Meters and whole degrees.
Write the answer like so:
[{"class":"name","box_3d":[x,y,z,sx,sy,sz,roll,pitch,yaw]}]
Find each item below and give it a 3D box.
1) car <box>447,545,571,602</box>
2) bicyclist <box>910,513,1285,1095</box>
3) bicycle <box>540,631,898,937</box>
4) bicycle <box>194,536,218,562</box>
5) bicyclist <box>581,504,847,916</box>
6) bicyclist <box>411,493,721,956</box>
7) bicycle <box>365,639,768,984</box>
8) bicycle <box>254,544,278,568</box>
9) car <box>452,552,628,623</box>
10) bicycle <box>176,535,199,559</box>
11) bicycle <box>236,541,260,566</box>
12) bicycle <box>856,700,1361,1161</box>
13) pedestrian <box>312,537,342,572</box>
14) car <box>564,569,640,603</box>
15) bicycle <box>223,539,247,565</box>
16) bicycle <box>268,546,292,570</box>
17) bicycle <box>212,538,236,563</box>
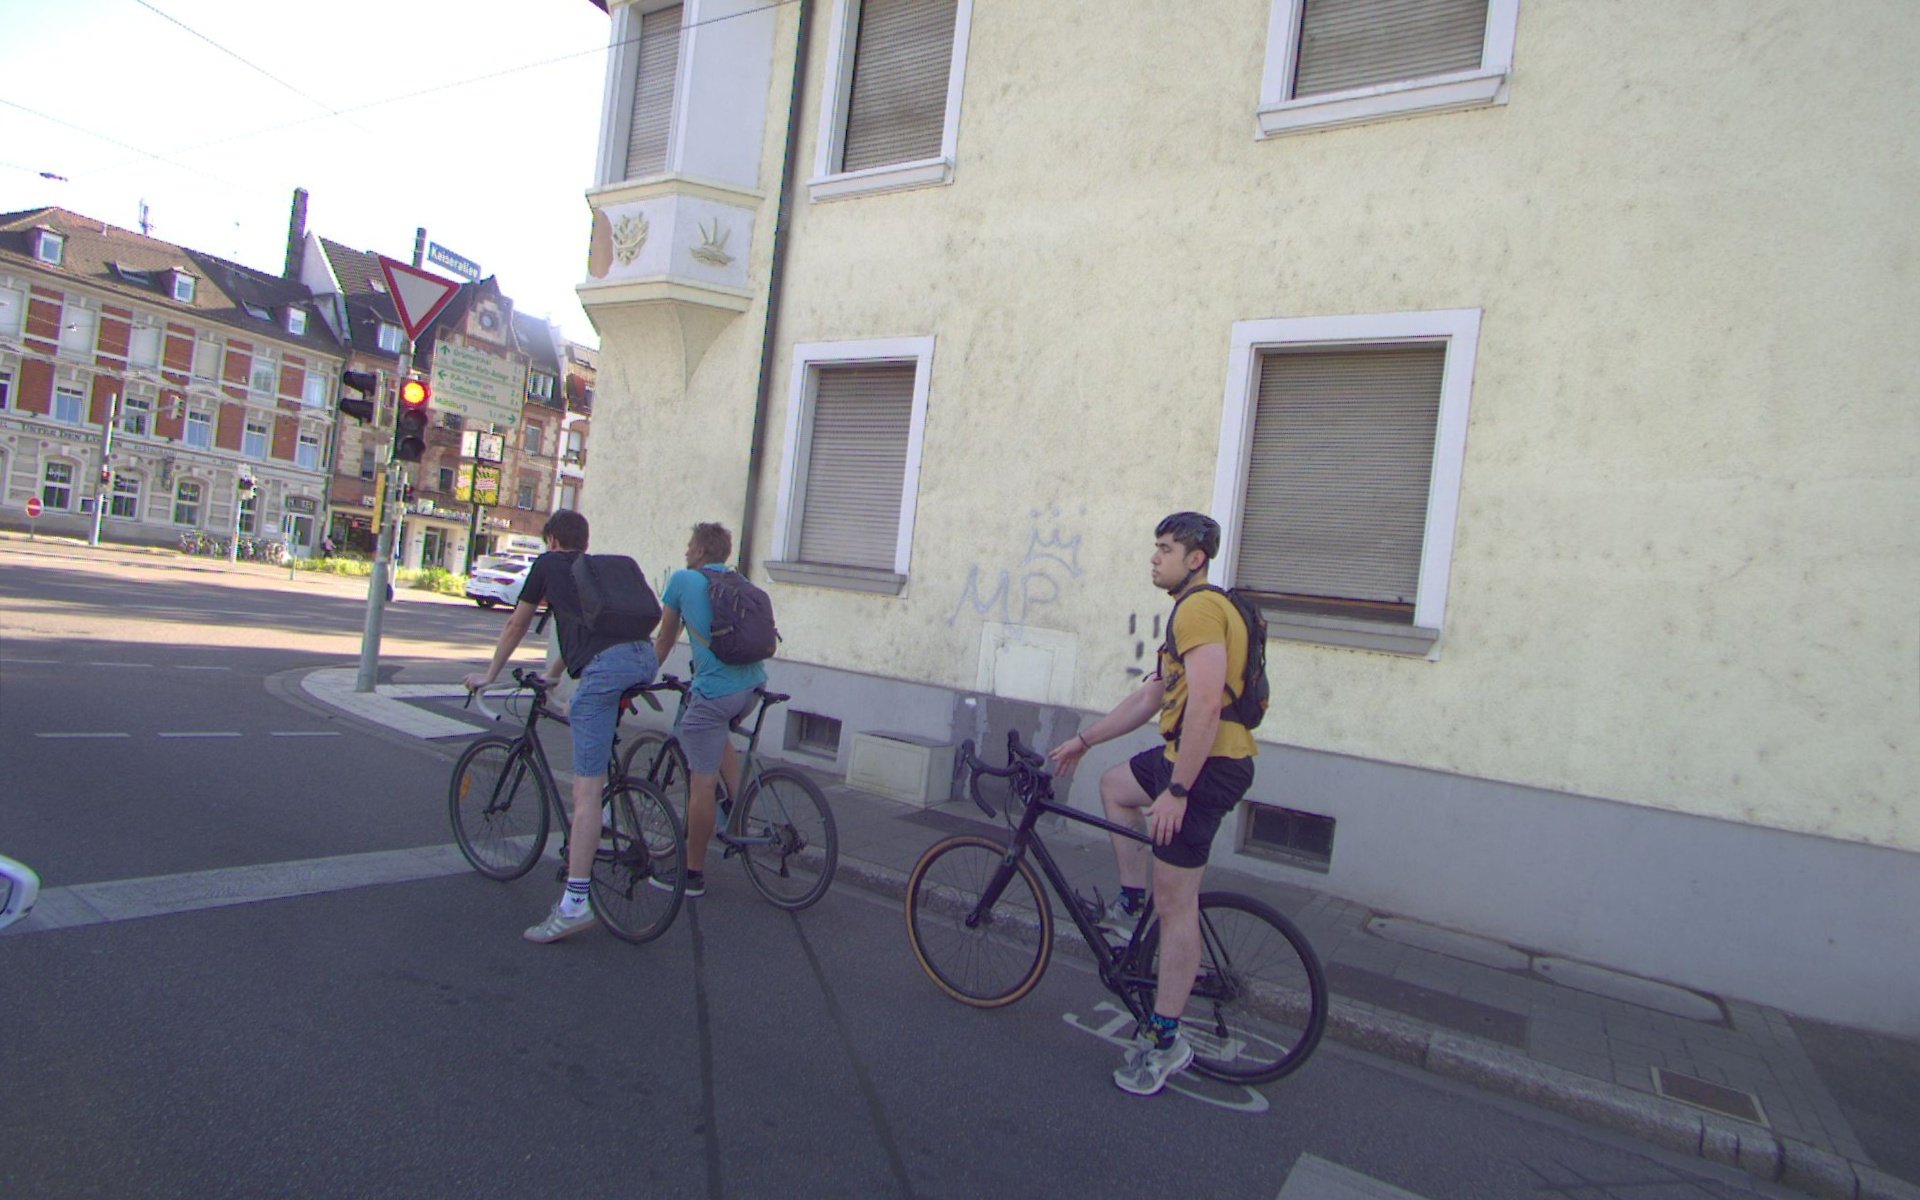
[{"class":"car","box_3d":[-21.273,-1.212,47.696,1.967,2.037,4.988,7,-1,31]},{"class":"bicyclist","box_3d":[0.519,0.663,3.790,1.019,1.839,0.652,7,0,32]},{"class":"bicycle","box_3d":[-1.313,0.874,5.292,1.858,1.180,0.571,7,0,32]},{"class":"bicycle","box_3d":[-34.649,-2.345,46.208,1.759,1.033,0.485,7,0,42]},{"class":"bicyclist","box_3d":[-1.289,0.520,5.282,0.978,1.910,0.652,7,0,32]},{"class":"bicyclist","box_3d":[-1.753,0.488,4.481,0.978,1.788,0.652,7,0,32]},{"class":"bicycle","box_3d":[-1.802,0.832,4.479,1.858,1.071,0.571,7,0,32]},{"class":"bicycle","box_3d":[-33.320,-2.119,48.297,1.759,1.033,0.485,7,0,42]},{"class":"car","box_3d":[-12.108,-0.308,29.363,1.710,1.490,4.685,7,-1,25]},{"class":"bicycle","box_3d":[-35.074,-2.418,45.672,1.759,0.925,0.485,7,0,42]},{"class":"bicycle","box_3d":[-33.683,-2.196,47.569,1.759,1.033,0.485,7,0,42]},{"class":"bicycle","box_3d":[0.510,1.087,3.785,1.670,1.180,0.571,7,0,32]},{"class":"pedestrian","box_3d":[-33.823,-2.422,53.771,0.620,1.731,1.035,6,-1,40]},{"class":"car","box_3d":[-23.184,-0.892,65.238,1.966,1.641,4.261,7,-1,29]},{"class":"bicycle","box_3d":[-34.011,-2.255,47.178,1.759,1.033,0.485,7,0,42]},{"class":"bicycle","box_3d":[-33.101,-2.063,48.985,1.759,1.033,0.485,7,0,42]},{"class":"bicycle","box_3d":[-34.198,-2.296,46.754,1.759,1.033,0.485,7,0,42]}]
